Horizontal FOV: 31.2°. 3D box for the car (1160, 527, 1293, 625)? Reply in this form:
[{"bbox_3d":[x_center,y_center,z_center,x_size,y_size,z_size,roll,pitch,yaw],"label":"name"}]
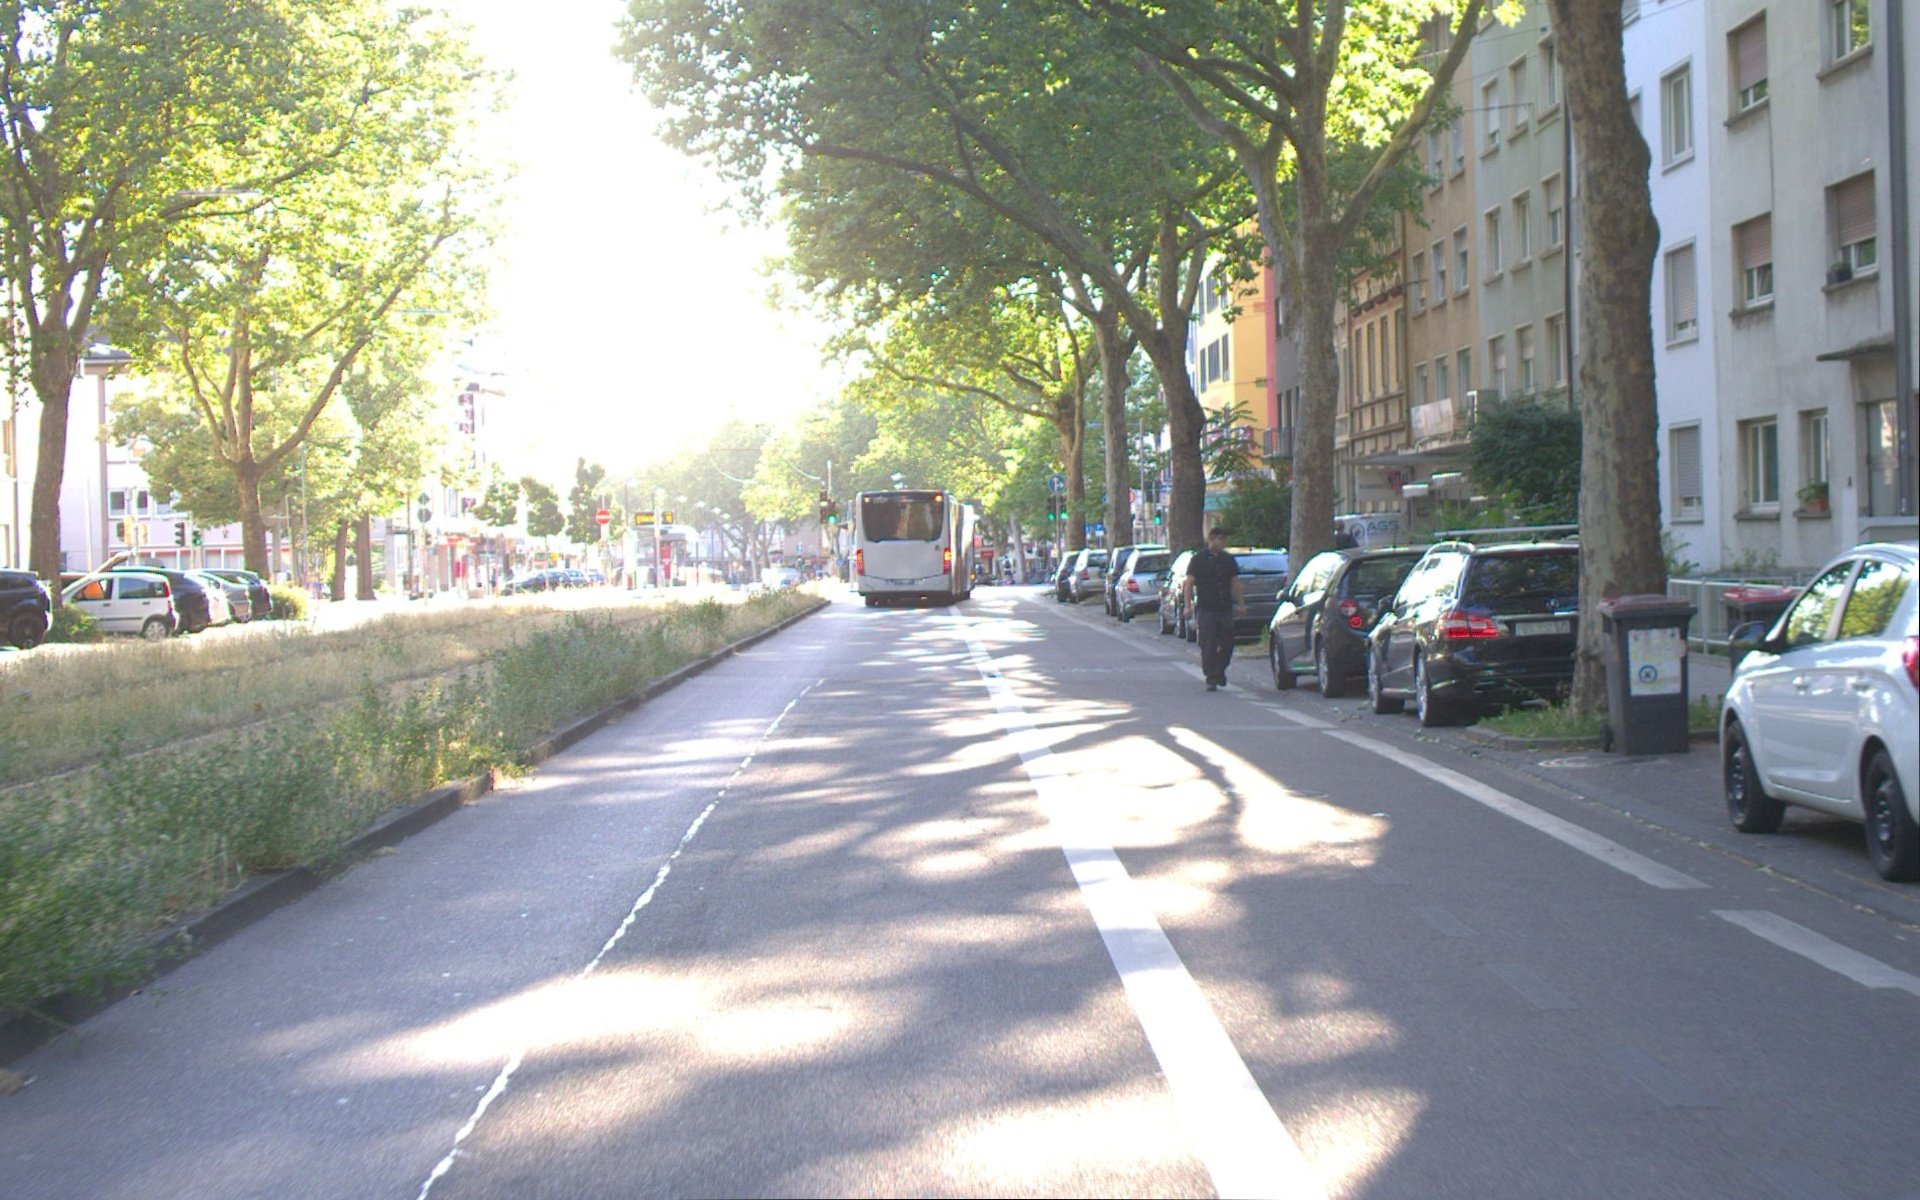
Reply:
[{"bbox_3d":[4.387,-0.429,57.100,1.781,1.510,4.000,-2,1,-1],"label":"car"}]

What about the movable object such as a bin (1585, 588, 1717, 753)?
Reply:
[{"bbox_3d":[4.692,0.467,23.388,0.673,1.042,0.880,-2,2,-1],"label":"movable object such as a bin"}]

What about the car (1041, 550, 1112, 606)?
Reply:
[{"bbox_3d":[3.336,-0.652,99.100,1.781,1.510,4.000,-2,1,-1],"label":"car"}]

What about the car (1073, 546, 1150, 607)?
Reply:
[{"bbox_3d":[4.049,-0.650,92.561,1.781,1.510,4.000,-2,1,-1],"label":"car"}]

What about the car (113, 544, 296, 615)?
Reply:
[{"bbox_3d":[-19.942,-0.551,90.844,4.300,1.732,1.857,-2,0,-41],"label":"car"}]

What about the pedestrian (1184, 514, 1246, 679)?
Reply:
[{"bbox_3d":[2.781,-0.045,37.518,0.576,1.773,0.514,-2,1,-1],"label":"pedestrian"}]

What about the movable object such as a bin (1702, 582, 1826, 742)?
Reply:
[{"bbox_3d":[5.513,0.416,23.614,0.609,1.044,0.848,-2,1,-1],"label":"movable object such as a bin"}]

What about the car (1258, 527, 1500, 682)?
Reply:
[{"bbox_3d":[4.330,0.036,36.074,1.685,1.481,4.001,-2,0,-5],"label":"car"}]

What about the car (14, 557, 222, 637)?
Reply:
[{"bbox_3d":[-19.600,-0.084,80.106,4.300,1.732,1.857,-2,0,-41],"label":"car"}]

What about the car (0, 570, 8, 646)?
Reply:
[{"bbox_3d":[-20.392,0.219,64.840,4.300,1.453,1.857,-2,0,-41],"label":"car"}]

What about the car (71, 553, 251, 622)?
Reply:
[{"bbox_3d":[-21.497,-0.349,92.599,4.300,1.732,1.857,-2,0,-41],"label":"car"}]

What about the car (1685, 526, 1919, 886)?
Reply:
[{"bbox_3d":[4.784,0.396,16.446,1.645,1.481,4.000,-2,1,-1],"label":"car"}]

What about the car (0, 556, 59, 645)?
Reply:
[{"bbox_3d":[-20.345,0.056,68.308,4.300,1.732,1.857,-2,0,-41],"label":"car"}]

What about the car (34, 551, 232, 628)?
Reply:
[{"bbox_3d":[-20.197,-0.267,84.024,4.300,1.732,1.857,-2,0,-41],"label":"car"}]

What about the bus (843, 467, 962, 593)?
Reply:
[{"bbox_3d":[-1.657,-1.865,94.476,2.833,3.224,8.183,-2,0,-3],"label":"bus"}]

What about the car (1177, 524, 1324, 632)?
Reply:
[{"bbox_3d":[4.356,-0.357,52.025,1.781,1.510,4.000,-2,1,-1],"label":"car"}]

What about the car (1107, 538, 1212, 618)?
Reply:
[{"bbox_3d":[4.026,-0.480,69.927,1.781,1.510,4.000,-2,1,-1],"label":"car"}]

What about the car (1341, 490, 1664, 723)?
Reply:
[{"bbox_3d":[4.519,0.036,29.366,1.744,1.764,4.989,-2,0,-2],"label":"car"}]

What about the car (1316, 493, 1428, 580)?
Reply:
[{"bbox_3d":[9.237,-1.397,77.419,1.883,1.853,4.326,-2,0,-1],"label":"car"}]

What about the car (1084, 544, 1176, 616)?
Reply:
[{"bbox_3d":[3.855,-0.475,78.340,1.781,1.510,4.000,-2,1,-1],"label":"car"}]
